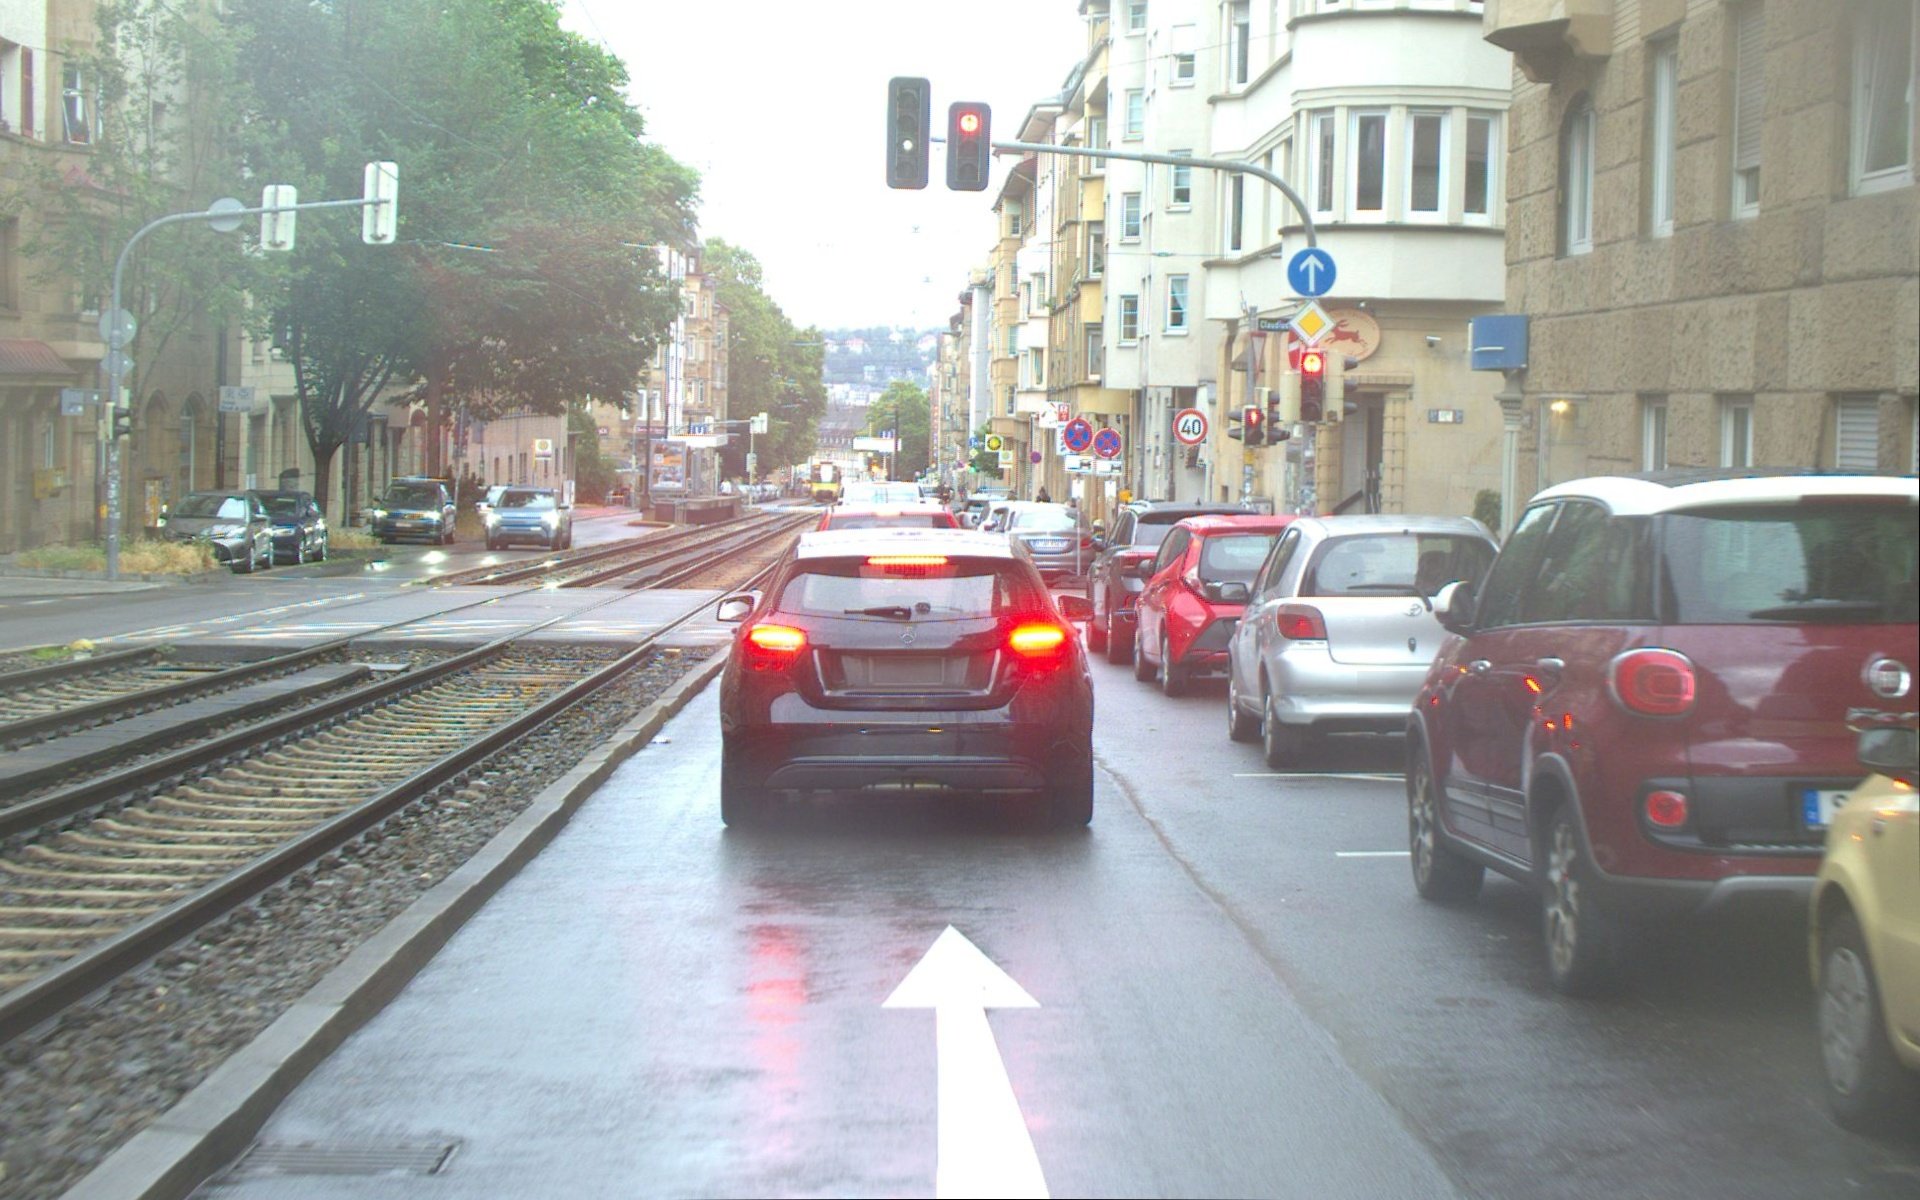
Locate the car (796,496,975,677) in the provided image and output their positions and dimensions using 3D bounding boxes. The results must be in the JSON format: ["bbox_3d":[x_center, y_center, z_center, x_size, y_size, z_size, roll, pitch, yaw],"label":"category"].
[{"bbox_3d":[-0.673,-0.179,32.142,1.535,1.505,4.001,1,2,-1],"label":"car"}]

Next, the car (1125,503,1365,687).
[{"bbox_3d":[2.334,-0.083,28.829,1.602,1.414,3.149,1,2,-2],"label":"car"}]

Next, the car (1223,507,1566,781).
[{"bbox_3d":[2.627,0.208,21.454,1.638,1.537,3.466,1,2,-1],"label":"car"}]

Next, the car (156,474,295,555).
[{"bbox_3d":[-13.631,-1.586,63.960,1.771,1.459,4.000,0,1,-1],"label":"car"}]

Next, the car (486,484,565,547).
[{"bbox_3d":[-11.003,-2.156,87.236,1.795,1.543,4.001,0,2,-5],"label":"car"}]

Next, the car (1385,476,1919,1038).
[{"bbox_3d":[2.655,0.404,12.043,1.710,1.623,4.001,1,2,-1],"label":"car"}]

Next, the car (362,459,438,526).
[{"bbox_3d":[-14.643,-2.826,90.020,1.789,1.685,4.001,1,2,-7],"label":"car"}]

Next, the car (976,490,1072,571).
[{"bbox_3d":[1.424,-1.554,77.502,1.768,1.769,4.001,0,1,-5],"label":"car"}]

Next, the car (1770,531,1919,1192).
[{"bbox_3d":[2.967,0.632,7.367,1.559,1.473,3.461,2,2,-1],"label":"car"}]

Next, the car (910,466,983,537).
[{"bbox_3d":[-0.369,-2.531,89.172,1.852,1.791,3.812,0,1,-1],"label":"car"}]

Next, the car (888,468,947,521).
[{"bbox_3d":[-1.410,-3.503,113.677,1.909,1.700,4.001,1,2,-1],"label":"car"}]

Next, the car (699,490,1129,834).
[{"bbox_3d":[-0.274,0.246,17.408,1.946,1.559,3.643,0,1,-2],"label":"car"}]

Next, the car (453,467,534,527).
[{"bbox_3d":[-14.557,-3.217,107.454,1.993,1.787,4.001,1,2,-1],"label":"car"}]

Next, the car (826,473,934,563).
[{"bbox_3d":[-1.521,-1.617,66.563,1.921,1.649,4.000,1,2,1],"label":"car"}]

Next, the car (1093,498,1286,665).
[{"bbox_3d":[2.216,-0.229,34.013,1.549,1.503,4.001,2,2,-1],"label":"car"}]

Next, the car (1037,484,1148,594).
[{"bbox_3d":[2.489,-1.152,65.409,1.898,2.021,4.176,0,1,-1],"label":"car"}]

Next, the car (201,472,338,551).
[{"bbox_3d":[-13.880,-1.804,69.277,1.993,1.512,4.001,1,2,-1],"label":"car"}]
